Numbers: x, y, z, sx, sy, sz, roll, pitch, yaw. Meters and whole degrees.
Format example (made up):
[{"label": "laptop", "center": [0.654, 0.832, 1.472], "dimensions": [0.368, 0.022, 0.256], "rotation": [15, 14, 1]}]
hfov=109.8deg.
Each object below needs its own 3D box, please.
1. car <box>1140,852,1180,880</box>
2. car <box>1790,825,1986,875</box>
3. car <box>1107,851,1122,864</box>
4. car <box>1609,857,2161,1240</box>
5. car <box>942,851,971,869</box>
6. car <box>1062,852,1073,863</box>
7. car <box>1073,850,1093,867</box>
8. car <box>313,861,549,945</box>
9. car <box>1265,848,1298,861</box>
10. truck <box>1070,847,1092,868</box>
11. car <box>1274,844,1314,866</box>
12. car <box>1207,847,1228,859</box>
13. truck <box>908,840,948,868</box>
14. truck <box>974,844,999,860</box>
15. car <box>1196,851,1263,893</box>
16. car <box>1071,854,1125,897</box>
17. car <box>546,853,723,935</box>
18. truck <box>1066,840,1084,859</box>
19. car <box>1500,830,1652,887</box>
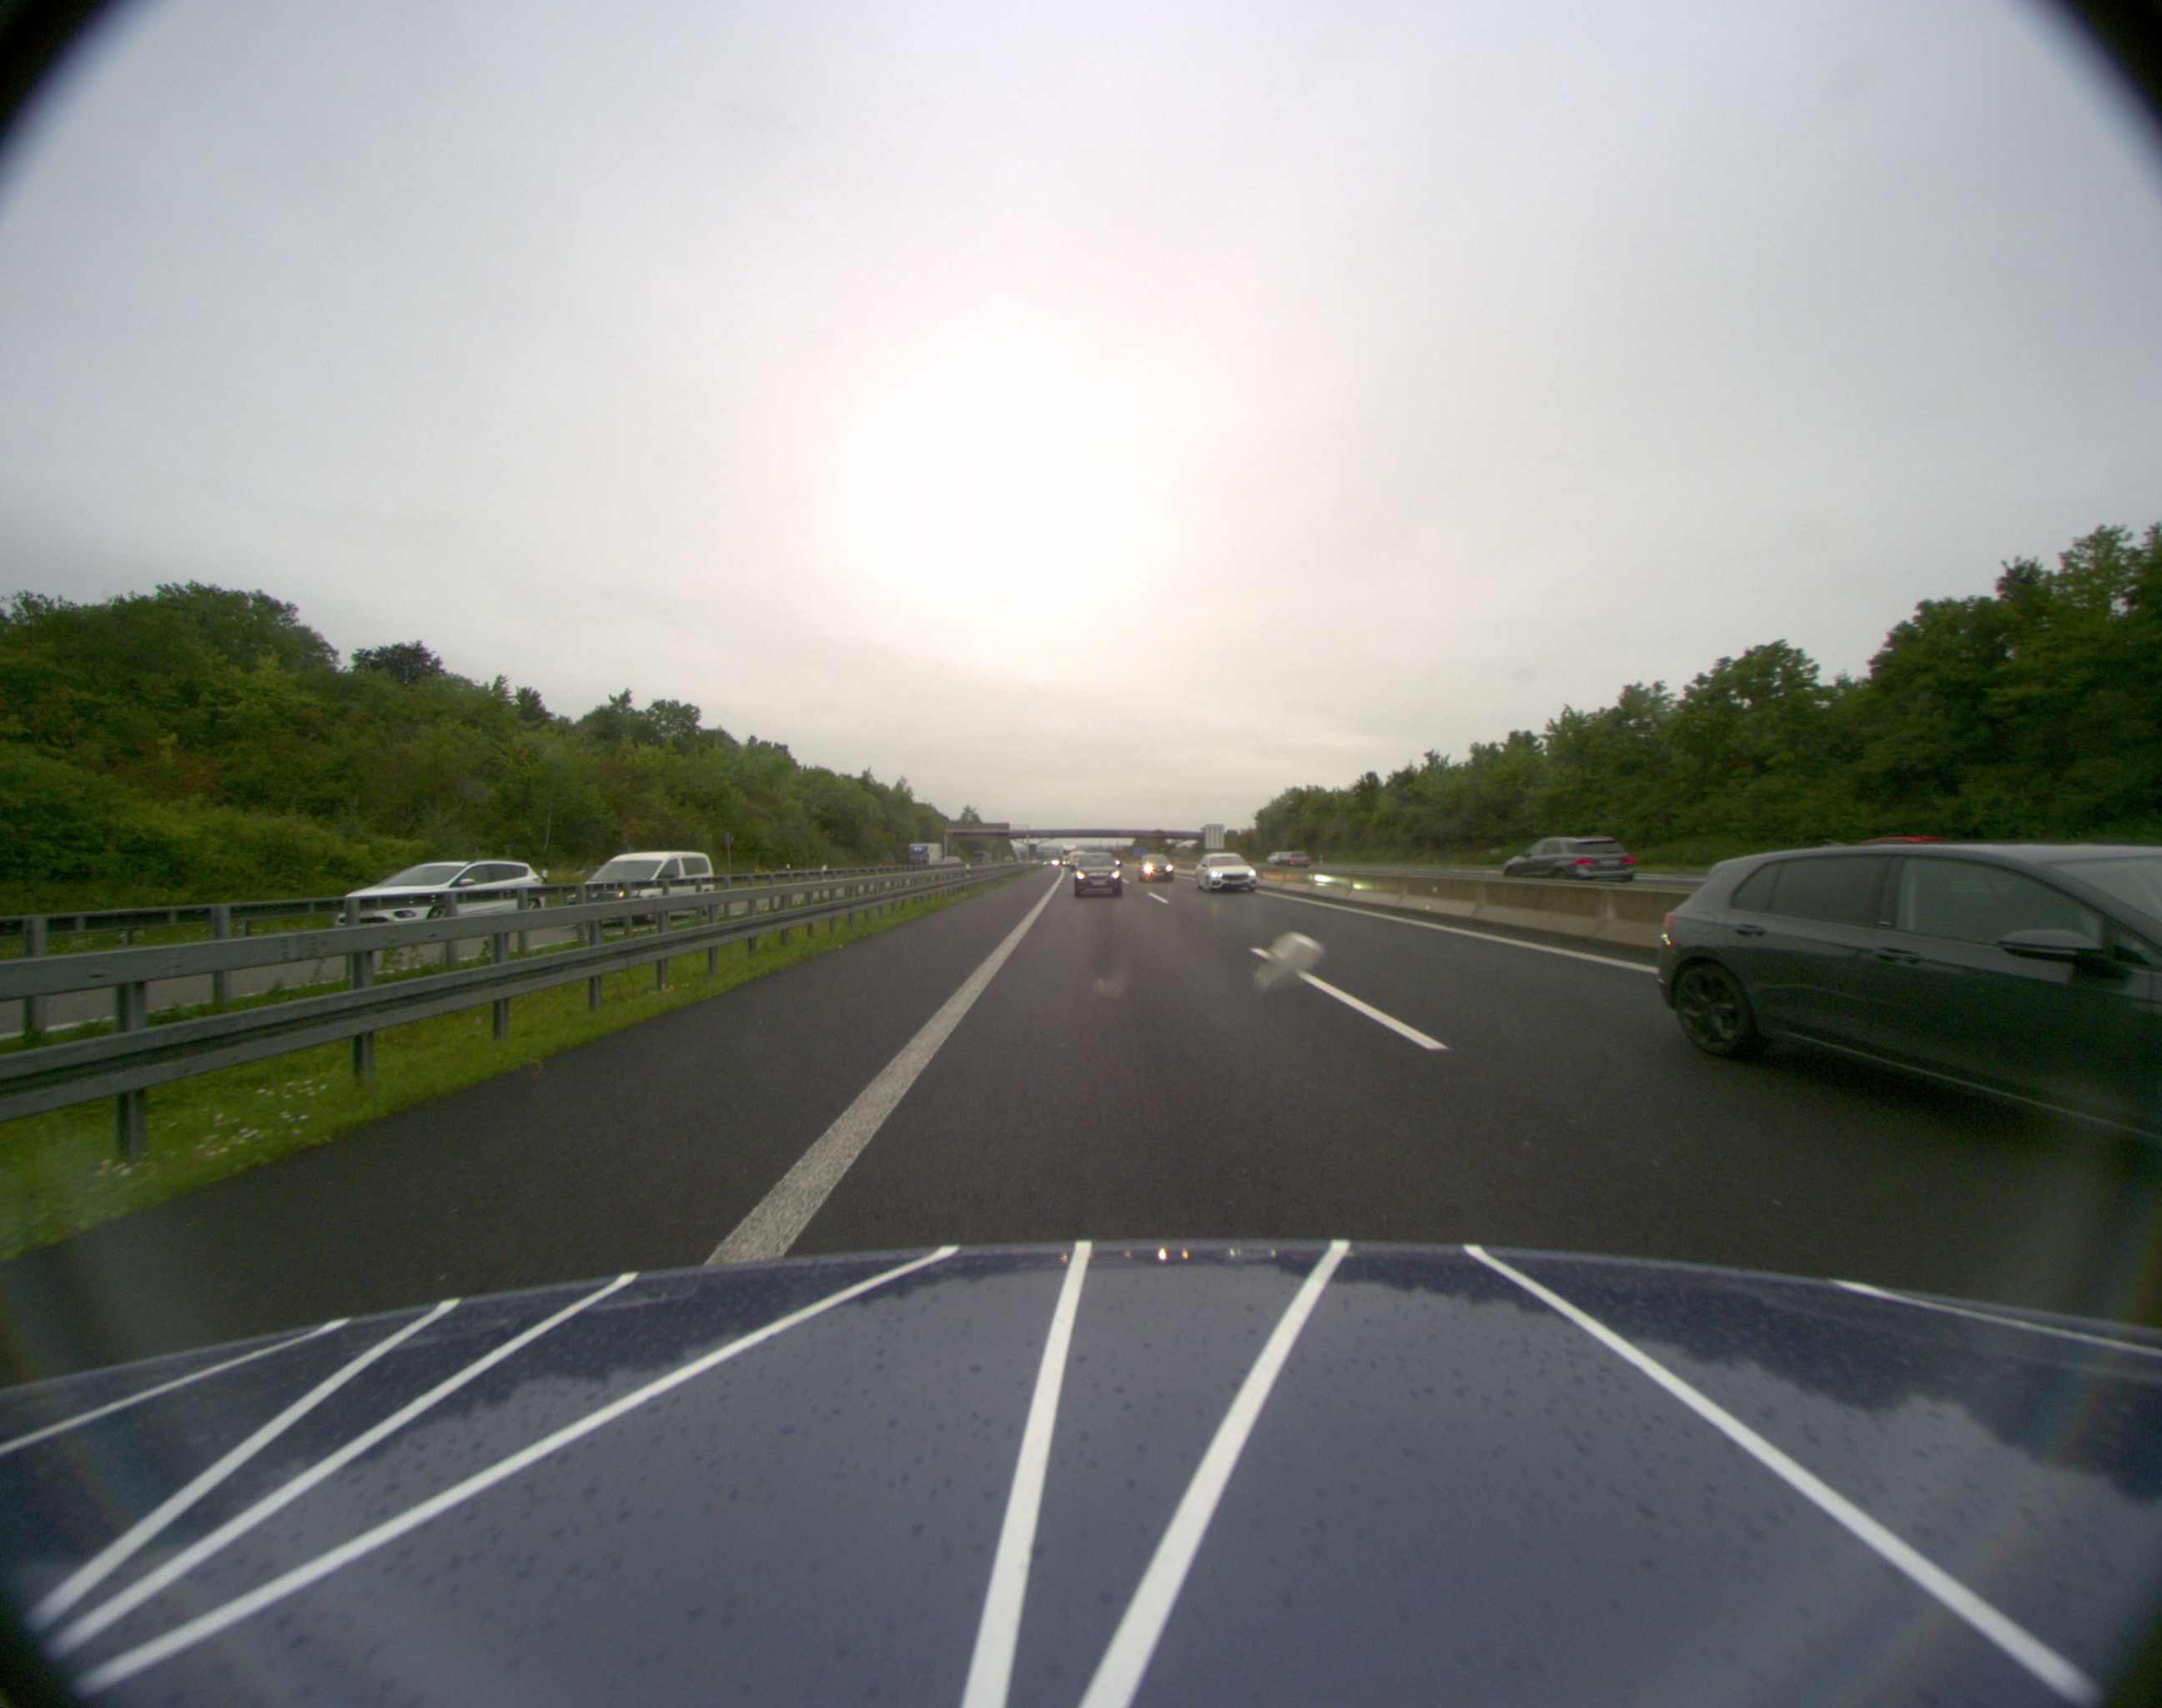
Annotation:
[{"label": "car", "center": [4.377, 0.635, 42.682], "dimensions": [1.905, 1.497, 4.114], "rotation": [-1, 0, 2]}, {"label": "car", "center": [30.091, -0.149, 28.585], "dimensions": [2.187, 1.686, 4.624], "rotation": [-1, 0, -9]}, {"label": "car", "center": [4.353, 0.450, 99.391], "dimensions": [1.715, 1.724, 3.999], "rotation": [-1, 0, 0]}, {"label": "car", "center": [5.098, 0.754, 3.780], "dimensions": [1.905, 1.397, 4.459], "rotation": [-1, 0, 1]}, {"label": "car", "center": [-12.147, 0.577, 74.498], "dimensions": [2.013, 1.645, 4.472], "rotation": [-1, 0, 1]}, {"label": "car", "center": [-2.130, 0.541, 122.948], "dimensions": [1.715, 1.724, 3.999], "rotation": [-1, 0, 0]}, {"label": "car", "center": [0.227, 0.435, 78.106], "dimensions": [1.825, 1.669, 4.000], "rotation": [-2, 0, 2]}, {"label": "car", "center": [-14.850, 1.027, 17.728], "dimensions": [1.901, 1.603, 4.145], "rotation": [-1, 0, 0]}, {"label": "car", "center": [23.449, 0.013, 89.053], "dimensions": [2.187, 1.421, 4.384], "rotation": [-2, 0, -9]}, {"label": "truck", "center": [0.028, 0.335, 85.229], "dimensions": [2.175, 2.214, 5.643], "rotation": [-1, 0, 2]}, {"label": "car", "center": [17.873, 0.061, 64.011], "dimensions": [2.185, 1.686, 5.251], "rotation": [-1, 0, 4]}, {"label": "car", "center": [19.688, -0.165, 109.810], "dimensions": [2.185, 1.625, 4.537], "rotation": [-1, 0, 1]}, {"label": "truck", "center": [-19.760, -0.087, 98.861], "dimensions": [2.908, 3.397, 9.283], "rotation": [-2, 0, 2]}, {"label": "truck", "center": [-20.793, -0.520, 168.121], "dimensions": [2.908, 3.397, 13.355], "rotation": [-1, 0, 3]}, {"label": "car", "center": [5.706, 0.641, 29.675], "dimensions": [1.905, 1.497, 4.114], "rotation": [-1, 0, 2]}, {"label": "car", "center": [0.674, 0.774, 29.681], "dimensions": [1.905, 1.497, 4.114], "rotation": [-1, 0, 2]}, {"label": "car", "center": [-11.302, 0.926, 19.654], "dimensions": [2.013, 1.804, 4.275], "rotation": [-1, 0, -1]}, {"label": "truck", "center": [-1.021, -0.923, 144.326], "dimensions": [3.154, 3.332, 13.099], "rotation": [-2, 0, 0]}, {"label": "car", "center": [16.281, 0.125, 25.345], "dimensions": [2.185, 1.686, 4.733], "rotation": [-1, 0, 4]}]
